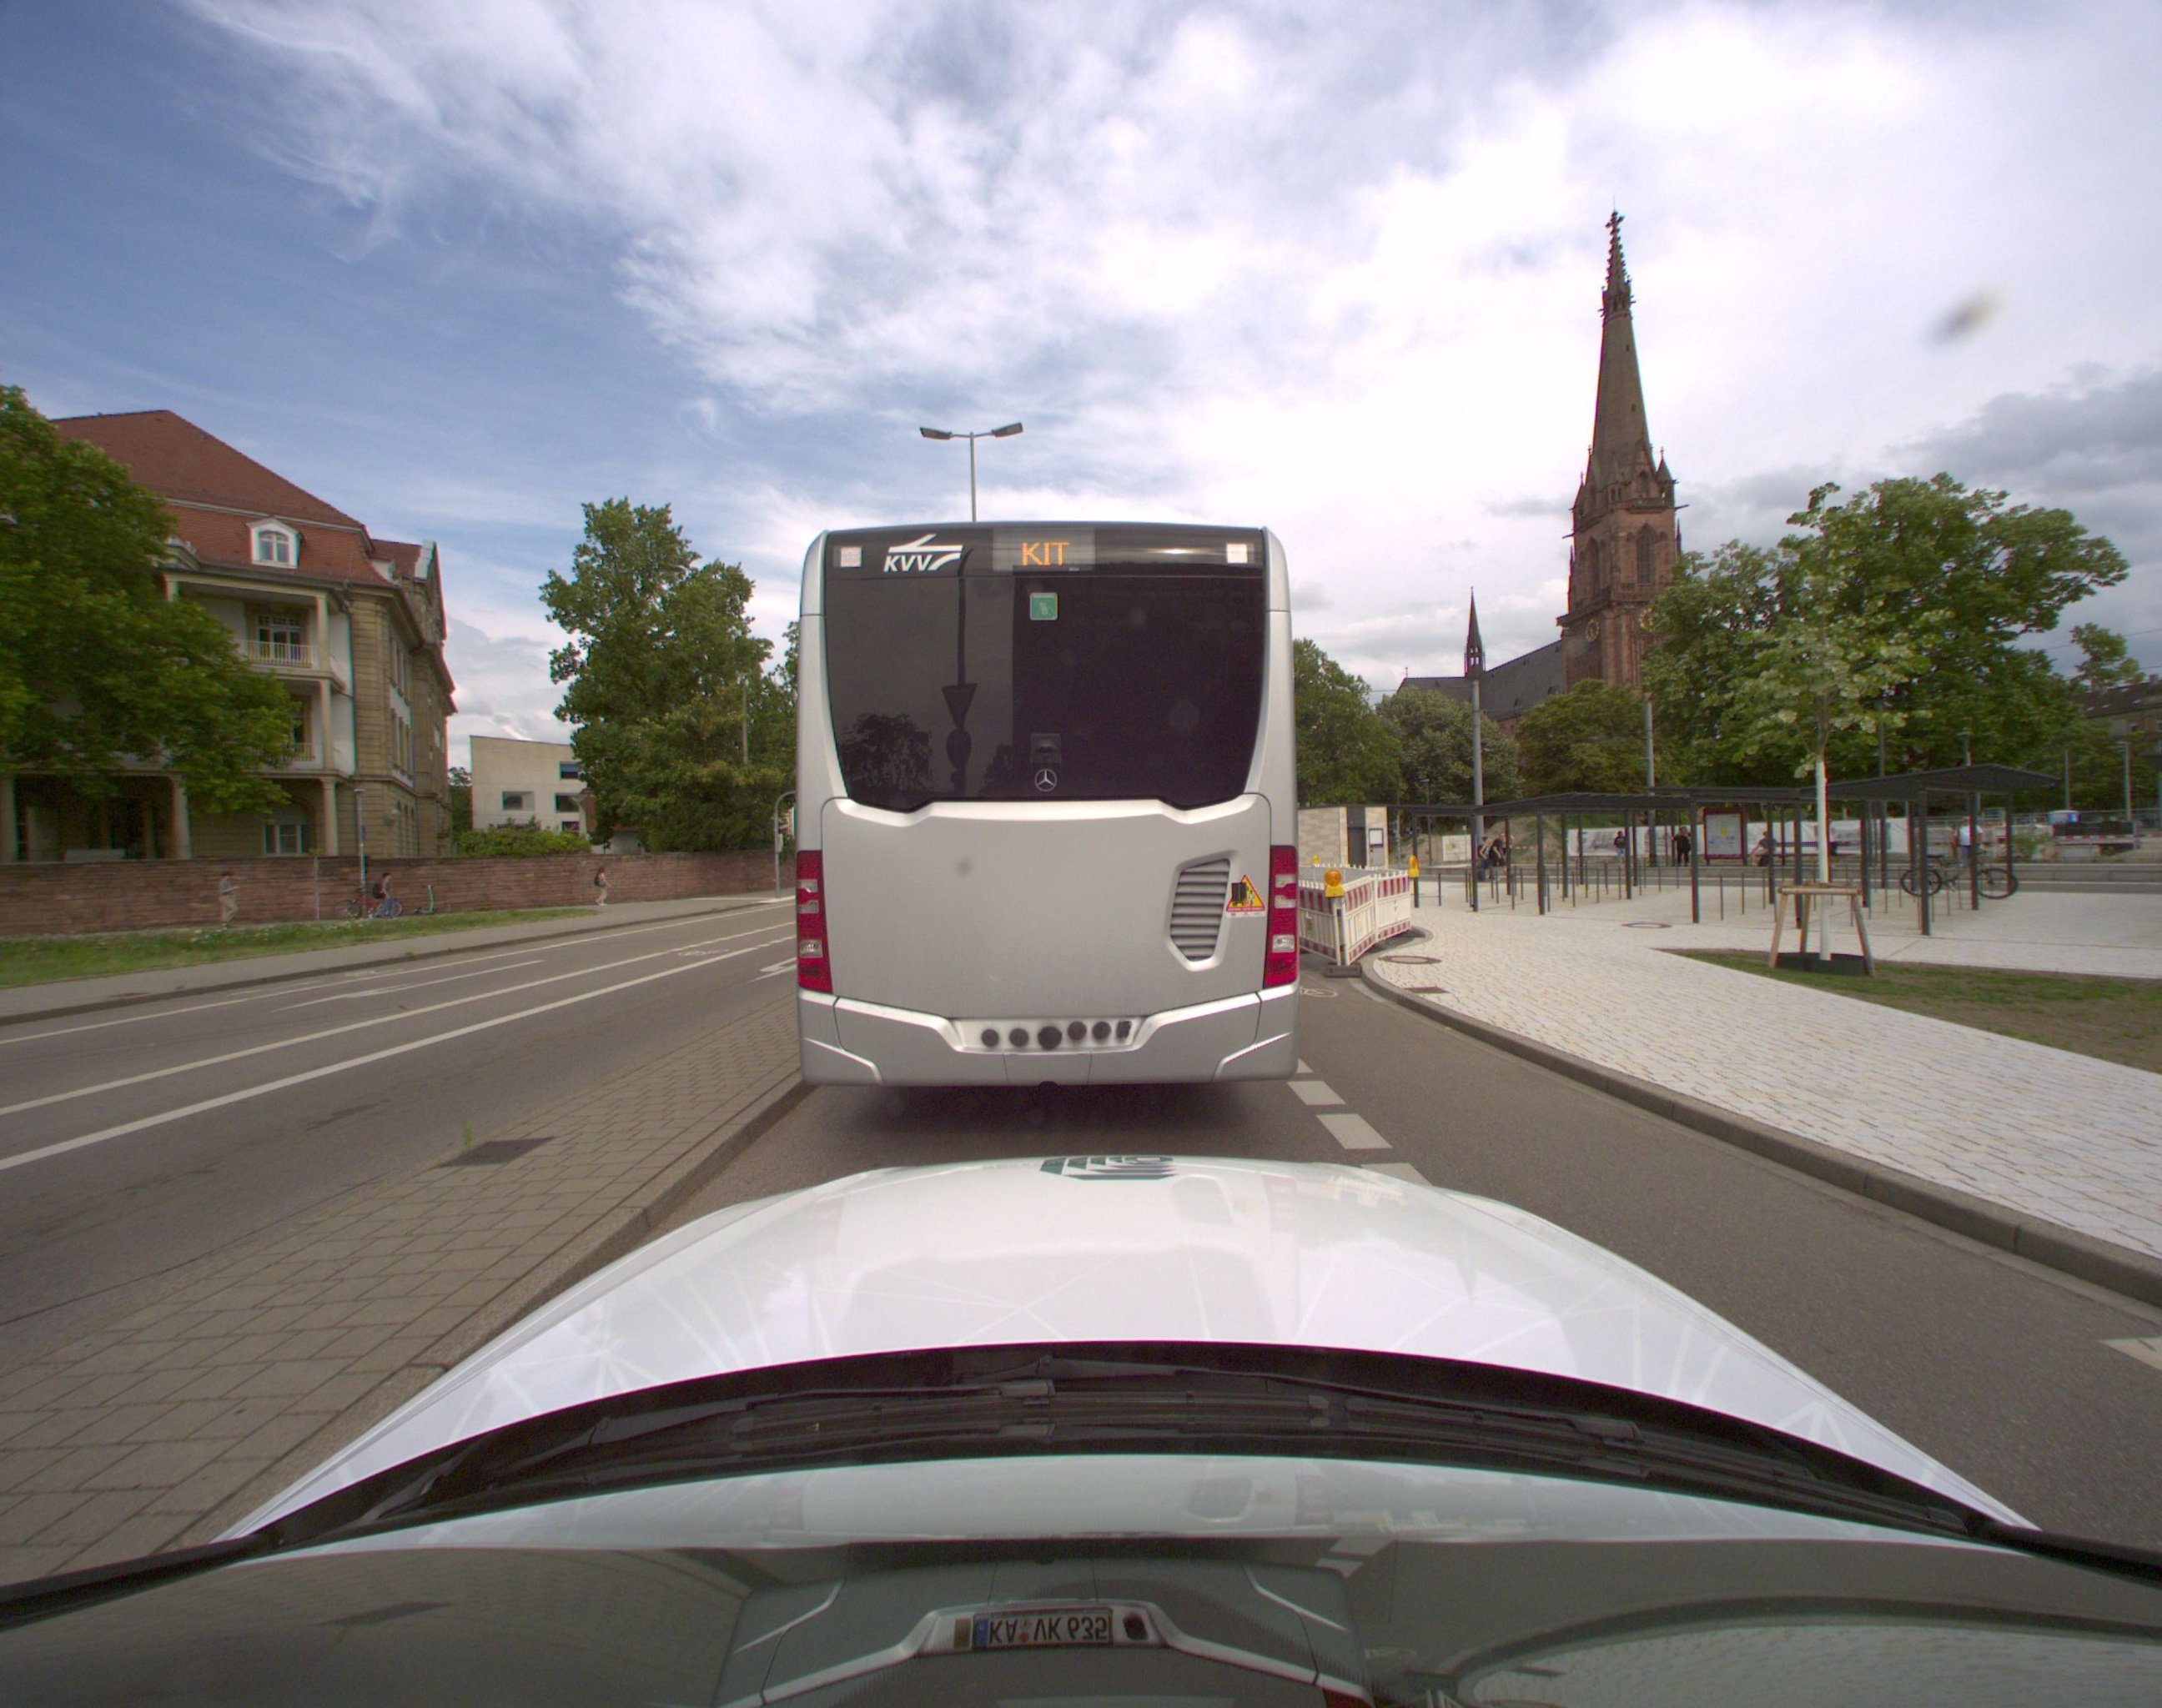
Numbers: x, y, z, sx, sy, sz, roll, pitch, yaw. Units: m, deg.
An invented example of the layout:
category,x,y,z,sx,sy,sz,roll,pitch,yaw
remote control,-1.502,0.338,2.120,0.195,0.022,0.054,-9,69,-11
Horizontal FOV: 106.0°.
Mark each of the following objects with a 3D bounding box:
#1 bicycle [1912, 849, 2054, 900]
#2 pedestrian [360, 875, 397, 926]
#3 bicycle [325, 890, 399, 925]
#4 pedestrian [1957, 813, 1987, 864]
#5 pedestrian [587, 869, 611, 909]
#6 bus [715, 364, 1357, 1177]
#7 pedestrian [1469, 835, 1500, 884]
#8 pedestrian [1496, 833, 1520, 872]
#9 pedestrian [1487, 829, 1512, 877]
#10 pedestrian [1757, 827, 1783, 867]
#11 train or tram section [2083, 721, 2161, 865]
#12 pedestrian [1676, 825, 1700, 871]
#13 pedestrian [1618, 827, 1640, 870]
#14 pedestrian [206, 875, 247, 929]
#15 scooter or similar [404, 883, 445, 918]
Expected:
category,x,y,z,sx,sy,sz,roll,pitch,yaw
bicycle,18.744,0.390,16.978,0.587,0.955,1.944,-3,3,-38
pedestrian,-24.452,1.603,28.355,0.570,1.654,0.787,0,3,33
bicycle,-25.723,1.900,29.165,1.937,1.005,0.770,-4,3,-42
pedestrian,29.772,-0.528,27.209,0.714,1.677,0.670,-4,3,-42
pedestrian,-20.747,1.484,35.082,0.525,1.654,0.634,0,3,30
bus,0.132,-0.317,10.605,2.693,3.438,14.193,-1,0,3
pedestrian,13.693,0.182,27.627,0.541,1.603,0.789,-3,3,-36
pedestrian,20.461,-0.078,39.043,0.816,1.800,0.755,-1,2,11
pedestrian,14.742,-0.032,28.693,0.534,1.654,0.623,-3,3,-36
pedestrian,26.054,-0.279,30.793,0.694,1.485,0.670,-4,3,-42
train or tram section,27.902,-1.383,16.570,3.076,3.276,9.270,-3,3,-35
pedestrian,24.474,-0.255,32.847,0.526,1.800,0.670,-4,3,-42
pedestrian,23.239,-0.230,34.553,0.526,1.800,0.670,-4,3,-42
pedestrian,-27.721,1.532,26.426,0.570,1.654,0.787,0,3,38
scooter or similar,-24.526,1.718,30.443,0.519,1.139,1.513,-2,3,-13
